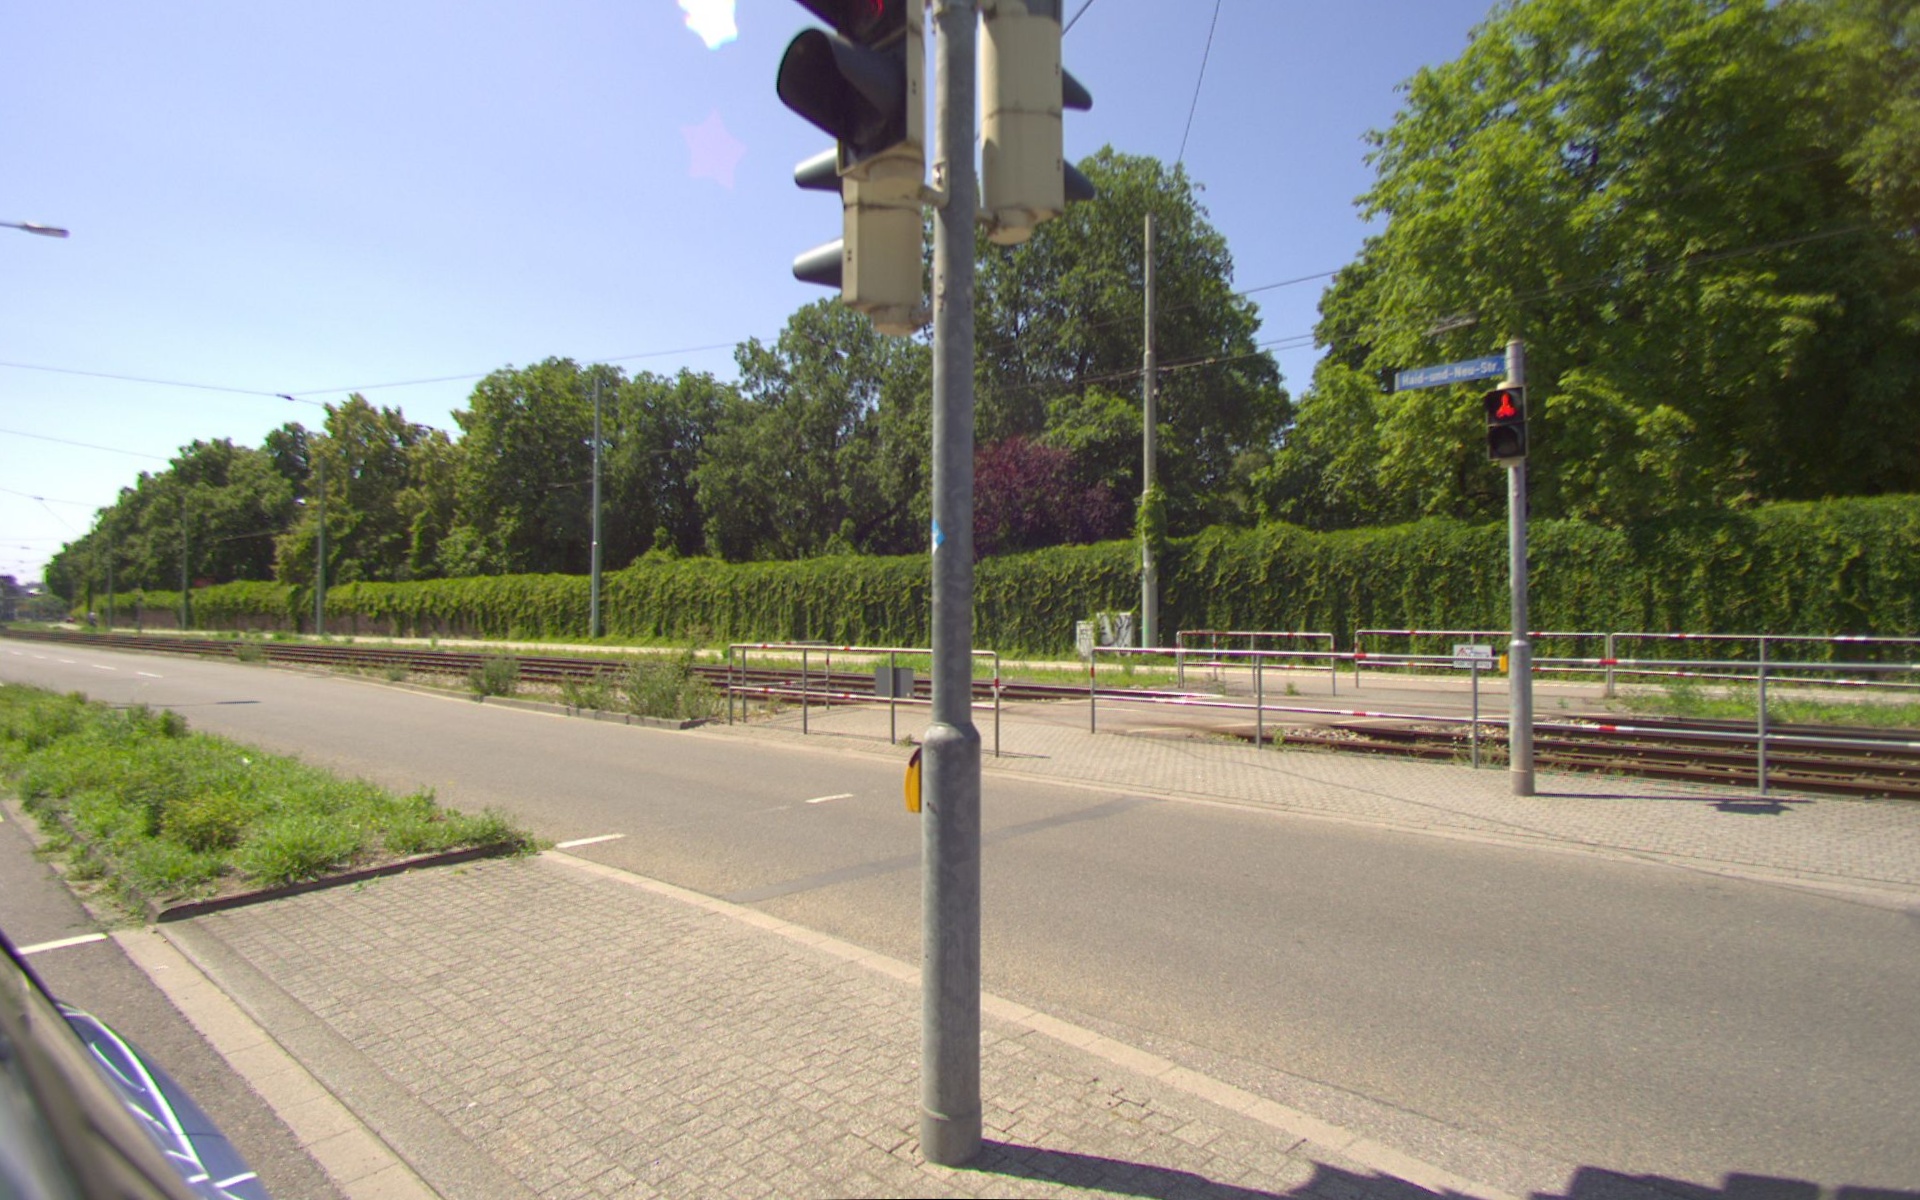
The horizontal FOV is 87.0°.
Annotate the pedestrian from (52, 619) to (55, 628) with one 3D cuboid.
[{"bbox_3d":[-161.364,4.141,180.140,0.302,1.677,0.447,-1,-1,41],"label":"pedestrian"}]

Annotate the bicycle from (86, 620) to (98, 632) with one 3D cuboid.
[{"bbox_3d":[-80.583,2.381,93.974,1.978,1.063,0.609,0,1,43],"label":"bicycle"}]

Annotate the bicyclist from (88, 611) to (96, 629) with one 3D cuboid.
[{"bbox_3d":[-80.579,1.860,93.969,0.769,1.624,0.477,-1,1,43],"label":"bicyclist"}]
